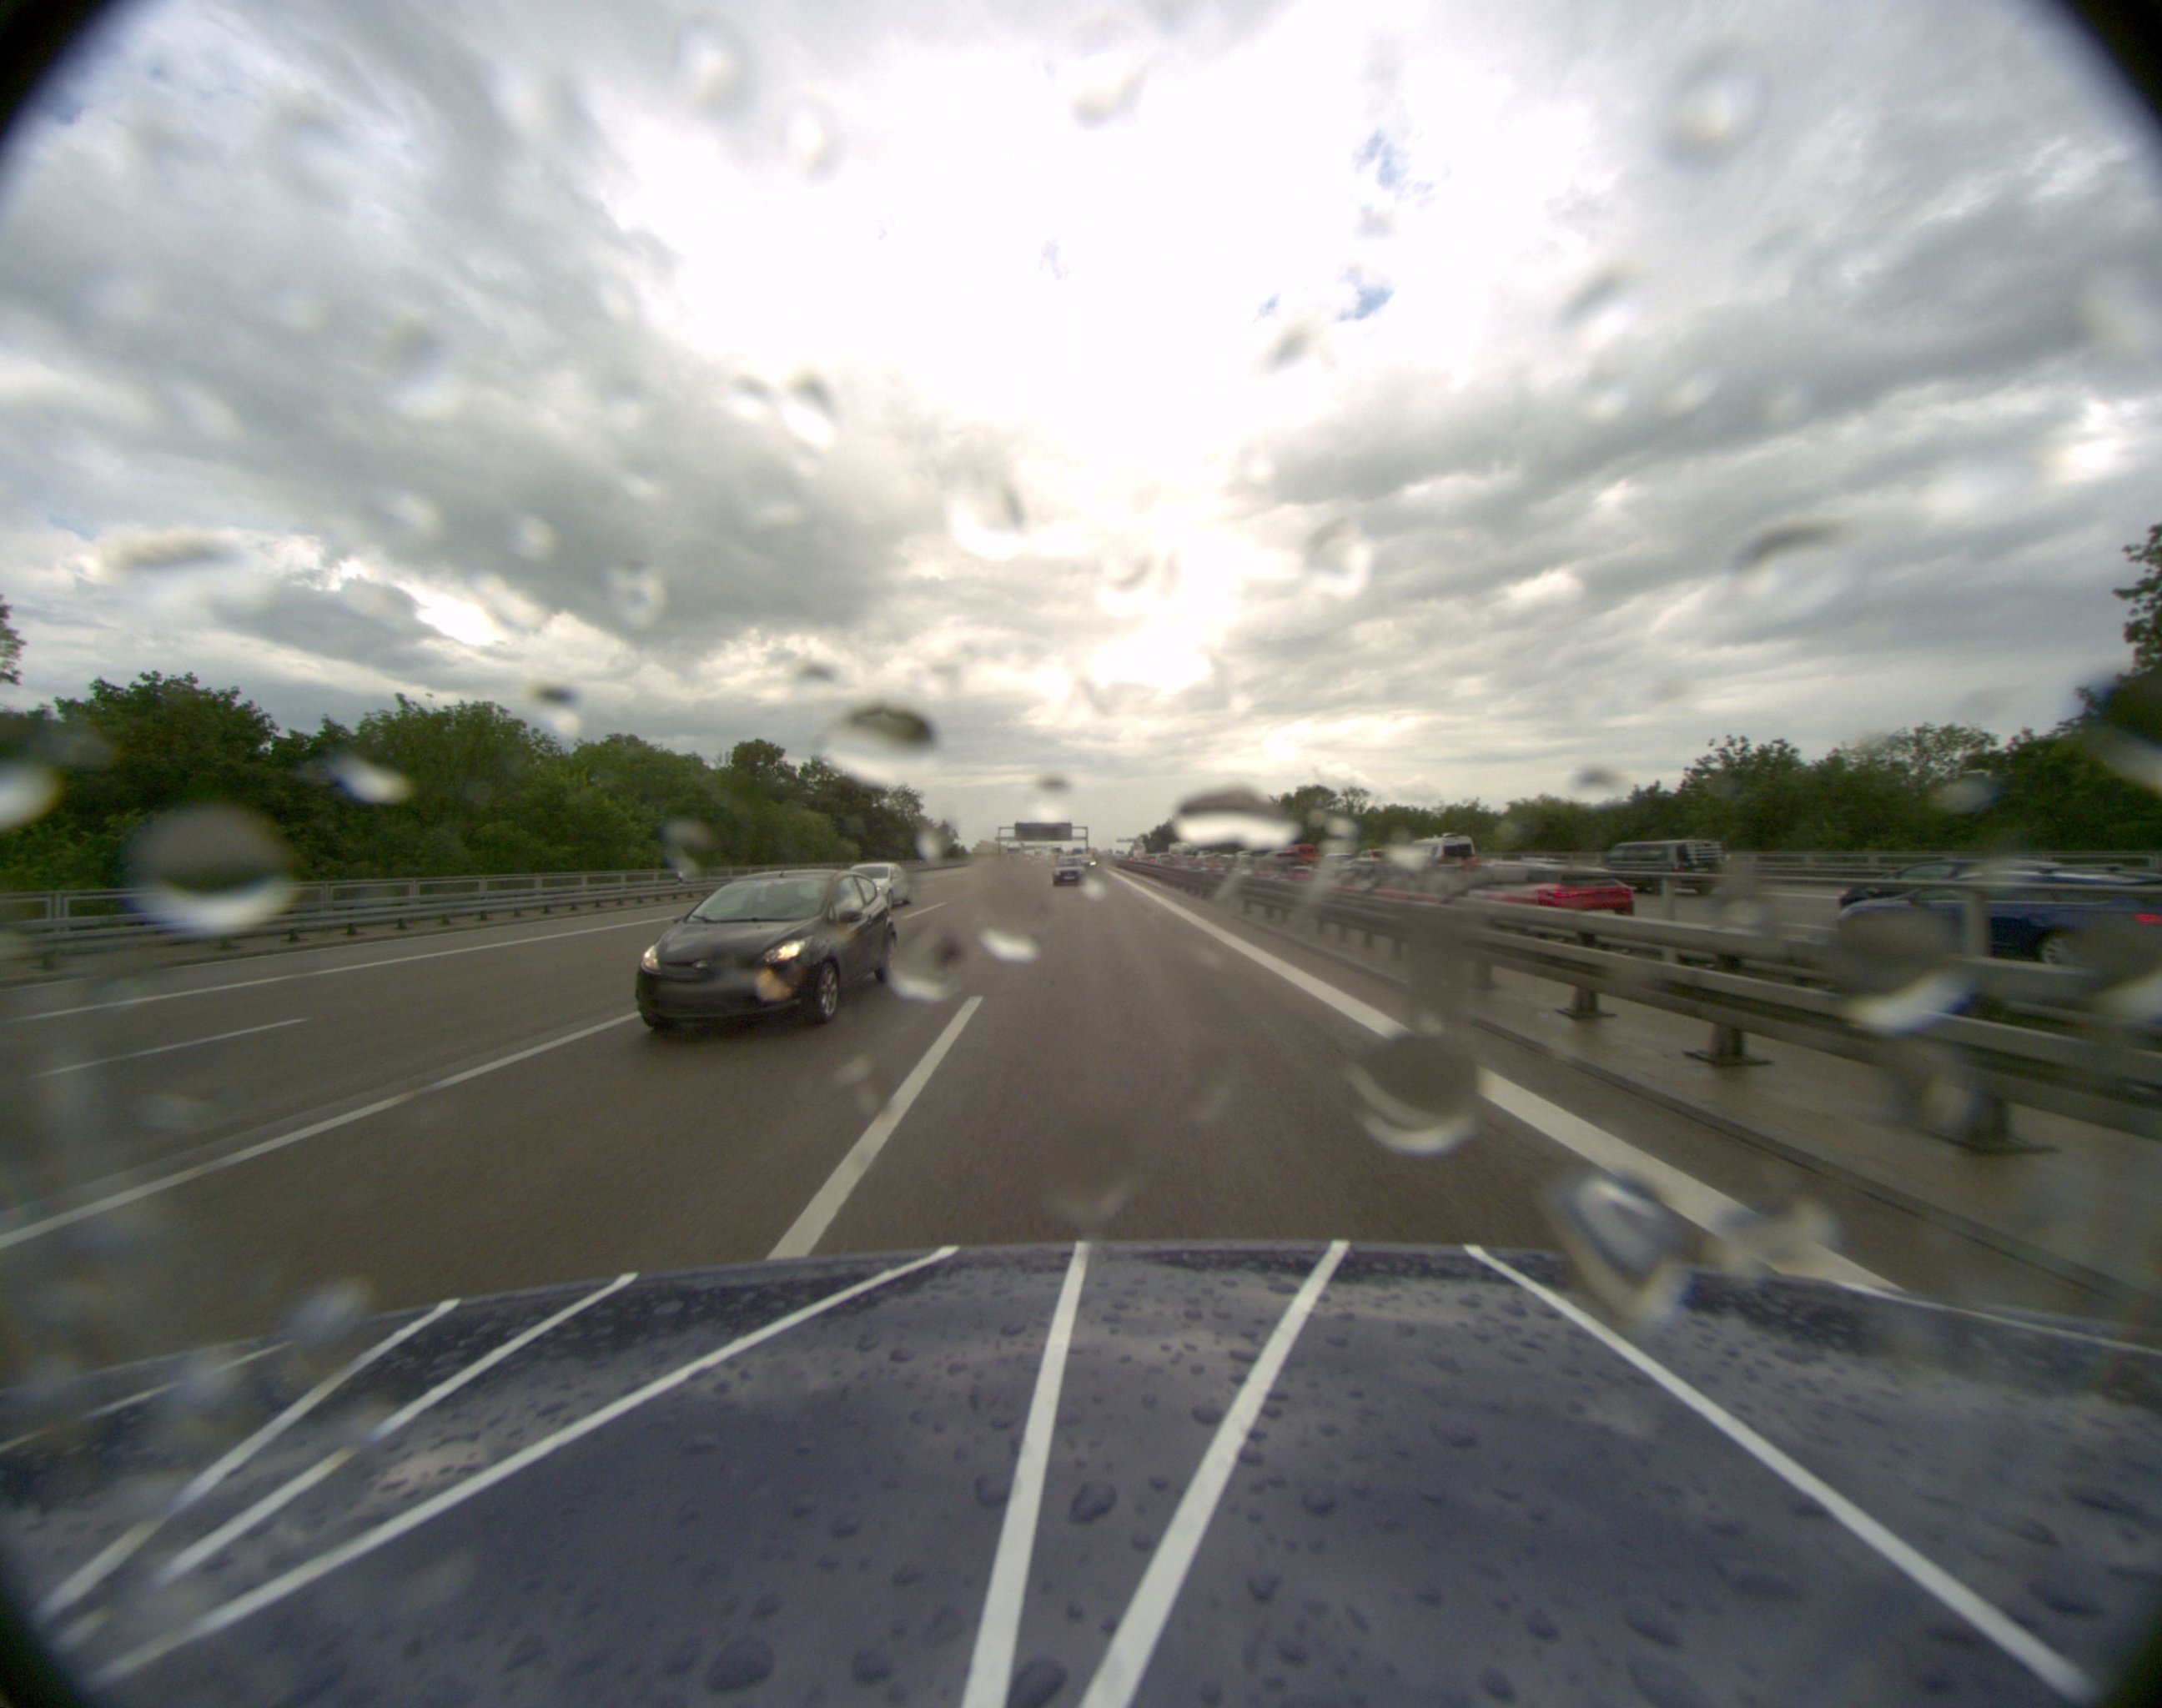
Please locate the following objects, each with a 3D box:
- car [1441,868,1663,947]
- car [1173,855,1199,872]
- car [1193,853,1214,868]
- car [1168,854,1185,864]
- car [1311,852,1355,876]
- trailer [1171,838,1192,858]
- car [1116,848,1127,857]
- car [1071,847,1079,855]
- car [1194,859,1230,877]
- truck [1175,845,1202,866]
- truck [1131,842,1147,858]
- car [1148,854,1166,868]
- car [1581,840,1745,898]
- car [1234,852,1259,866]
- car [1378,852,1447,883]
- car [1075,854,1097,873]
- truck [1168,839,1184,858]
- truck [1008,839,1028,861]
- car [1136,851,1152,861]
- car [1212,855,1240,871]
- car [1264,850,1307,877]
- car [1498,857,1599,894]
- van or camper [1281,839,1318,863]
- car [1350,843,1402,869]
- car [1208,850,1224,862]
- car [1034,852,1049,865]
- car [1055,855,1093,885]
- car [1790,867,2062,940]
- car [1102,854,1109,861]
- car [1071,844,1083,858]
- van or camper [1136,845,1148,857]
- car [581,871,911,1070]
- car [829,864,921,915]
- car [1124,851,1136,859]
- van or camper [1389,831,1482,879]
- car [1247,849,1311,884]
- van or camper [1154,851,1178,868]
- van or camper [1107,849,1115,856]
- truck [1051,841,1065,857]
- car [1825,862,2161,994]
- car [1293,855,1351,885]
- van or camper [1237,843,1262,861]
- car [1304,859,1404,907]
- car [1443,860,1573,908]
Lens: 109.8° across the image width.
[{"bbox_3d":[10.522,1.107,17.527,1.999,1.454,4.841,-1,0,-2],"label":"car"},{"bbox_3d":[10.283,0.916,74.938,1.830,1.665,5.358,-1,0,0],"label":"car"},{"bbox_3d":[14.457,0.772,89.763,1.681,1.626,3.999,0,0,-2],"label":"car"},{"bbox_3d":[14.318,0.791,114.388,1.837,1.466,4.032,-1,0,-2],"label":"car"},{"bbox_3d":[18.017,0.664,54.507,1.914,1.635,4.000,-1,0,1],"label":"car"},{"bbox_3d":[20.880,-1.136,158.831,2.468,3.934,13.217,-1,0,-1],"label":"trailer"},{"bbox_3d":[8.927,-0.358,168.581,1.858,1.974,5.036,-1,0,-2],"label":"car"},{"bbox_3d":[-1.492,-0.692,193.966,1.999,2.002,3.507,-2,0,-1],"label":"car"},{"bbox_3d":[10.770,1.095,63.018,1.879,1.384,5.364,-1,0,-2],"label":"car"},{"bbox_3d":[14.272,0.178,101.515,2.152,2.587,8.755,-1,0,-1],"label":"truck"},{"bbox_3d":[15.811,-1.019,208.335,3.267,4.267,10.867,-1,0,-1],"label":"truck"},{"bbox_3d":[10.648,0.959,106.980,1.953,1.937,4.725,-1,0,0],"label":"car"},{"bbox_3d":[22.058,0.504,29.161,1.999,2.002,5.411,-1,0,-2],"label":"car"},{"bbox_3d":[18.320,0.520,84.296,1.795,1.492,3.999,-1,0,-2],"label":"car"},{"bbox_3d":[18.411,0.697,42.453,1.732,1.603,4.462,-1,0,-2],"label":"car"},{"bbox_3d":[0.361,0.782,63.916,1.751,1.489,4.014,-2,1,0],"label":"car"},{"bbox_3d":[20.714,-1.162,166.603,2.468,3.942,6.981,-1,0,-1],"label":"truck"},{"bbox_3d":[-11.964,-0.781,144.314,3.255,3.884,12.310,-2,0,-3],"label":"truck"},{"bbox_3d":[9.819,0.292,119.168,1.836,1.466,5.923,-1,0,-1],"label":"car"},{"bbox_3d":[14.571,0.918,76.706,1.681,1.401,5.013,0,2,-2],"label":"car"},{"bbox_3d":[14.862,0.657,55.439,1.897,1.891,5.001,-1,0,1],"label":"car"},{"bbox_3d":[19.401,0.836,31.734,1.638,1.410,3.999,-1,0,-2],"label":"car"},{"bbox_3d":[22.621,-0.306,78.819,1.945,2.291,6.233,-1,0,-1],"label":"van or camper"},{"bbox_3d":[22.854,0.122,59.038,2.082,1.934,4.758,-1,0,-2],"label":"car"},{"bbox_3d":[21.583,0.305,121.794,1.725,1.820,3.999,-1,0,0],"label":"car"},{"bbox_3d":[-5.423,0.598,103.992,1.962,1.831,3.999,-1,0,-2],"label":"car"},{"bbox_3d":[-0.375,0.764,39.000,1.781,1.399,5.015,-2,0,-1],"label":"car"},{"bbox_3d":[18.261,0.994,16.730,1.451,1.293,3.999,-1,0,-2],"label":"car"},{"bbox_3d":[7.218,1.055,222.186,1.826,1.831,4.034,-1,0,-2],"label":"car"},{"bbox_3d":[-0.767,-0.530,133.012,1.998,2.354,4.172,-2,0,0],"label":"car"},{"bbox_3d":[13.395,-0.722,167.072,2.039,2.589,7.456,-1,0,-1],"label":"van or camper"},{"bbox_3d":[-3.195,0.994,8.351,1.668,1.431,4.404,-2,1,-1],"label":"car"},{"bbox_3d":[-6.627,1.083,24.899,1.898,1.438,4.245,-2,0,-1],"label":"car"},{"bbox_3d":[9.230,0.136,142.908,1.794,1.501,4.602,-1,0,-2],"label":"car"},{"bbox_3d":[21.918,0.046,47.474,2.207,2.749,7.230,-1,0,-2],"label":"van or camper"},{"bbox_3d":[10.821,0.645,41.936,1.871,1.816,5.707,-1,0,-2],"label":"car"},{"bbox_3d":[10.179,0.637,91.521,1.989,2.056,5.642,-1,0,-2],"label":"van or camper"},{"bbox_3d":[10.264,-0.519,263.237,2.455,2.562,5.420,-1,0,-1],"label":"van or camper"},{"bbox_3d":[-5.789,-1.218,192.397,2.958,3.777,12.323,-2,0,-4],"label":"truck"},{"bbox_3d":[14.538,0.958,11.600,1.784,1.602,4.576,-1,0,-2],"label":"car"},{"bbox_3d":[14.030,0.896,44.489,1.868,1.603,4.462,0,0,-2],"label":"car"},{"bbox_3d":[22.831,-0.310,103.211,2.051,2.316,5.933,-1,0,-1],"label":"van or camper"},{"bbox_3d":[10.458,1.041,29.565,1.872,1.660,5.173,-1,0,-2],"label":"car"},{"bbox_3d":[14.492,0.956,26.139,1.821,1.417,4.475,-1,0,-2],"label":"car"}]
